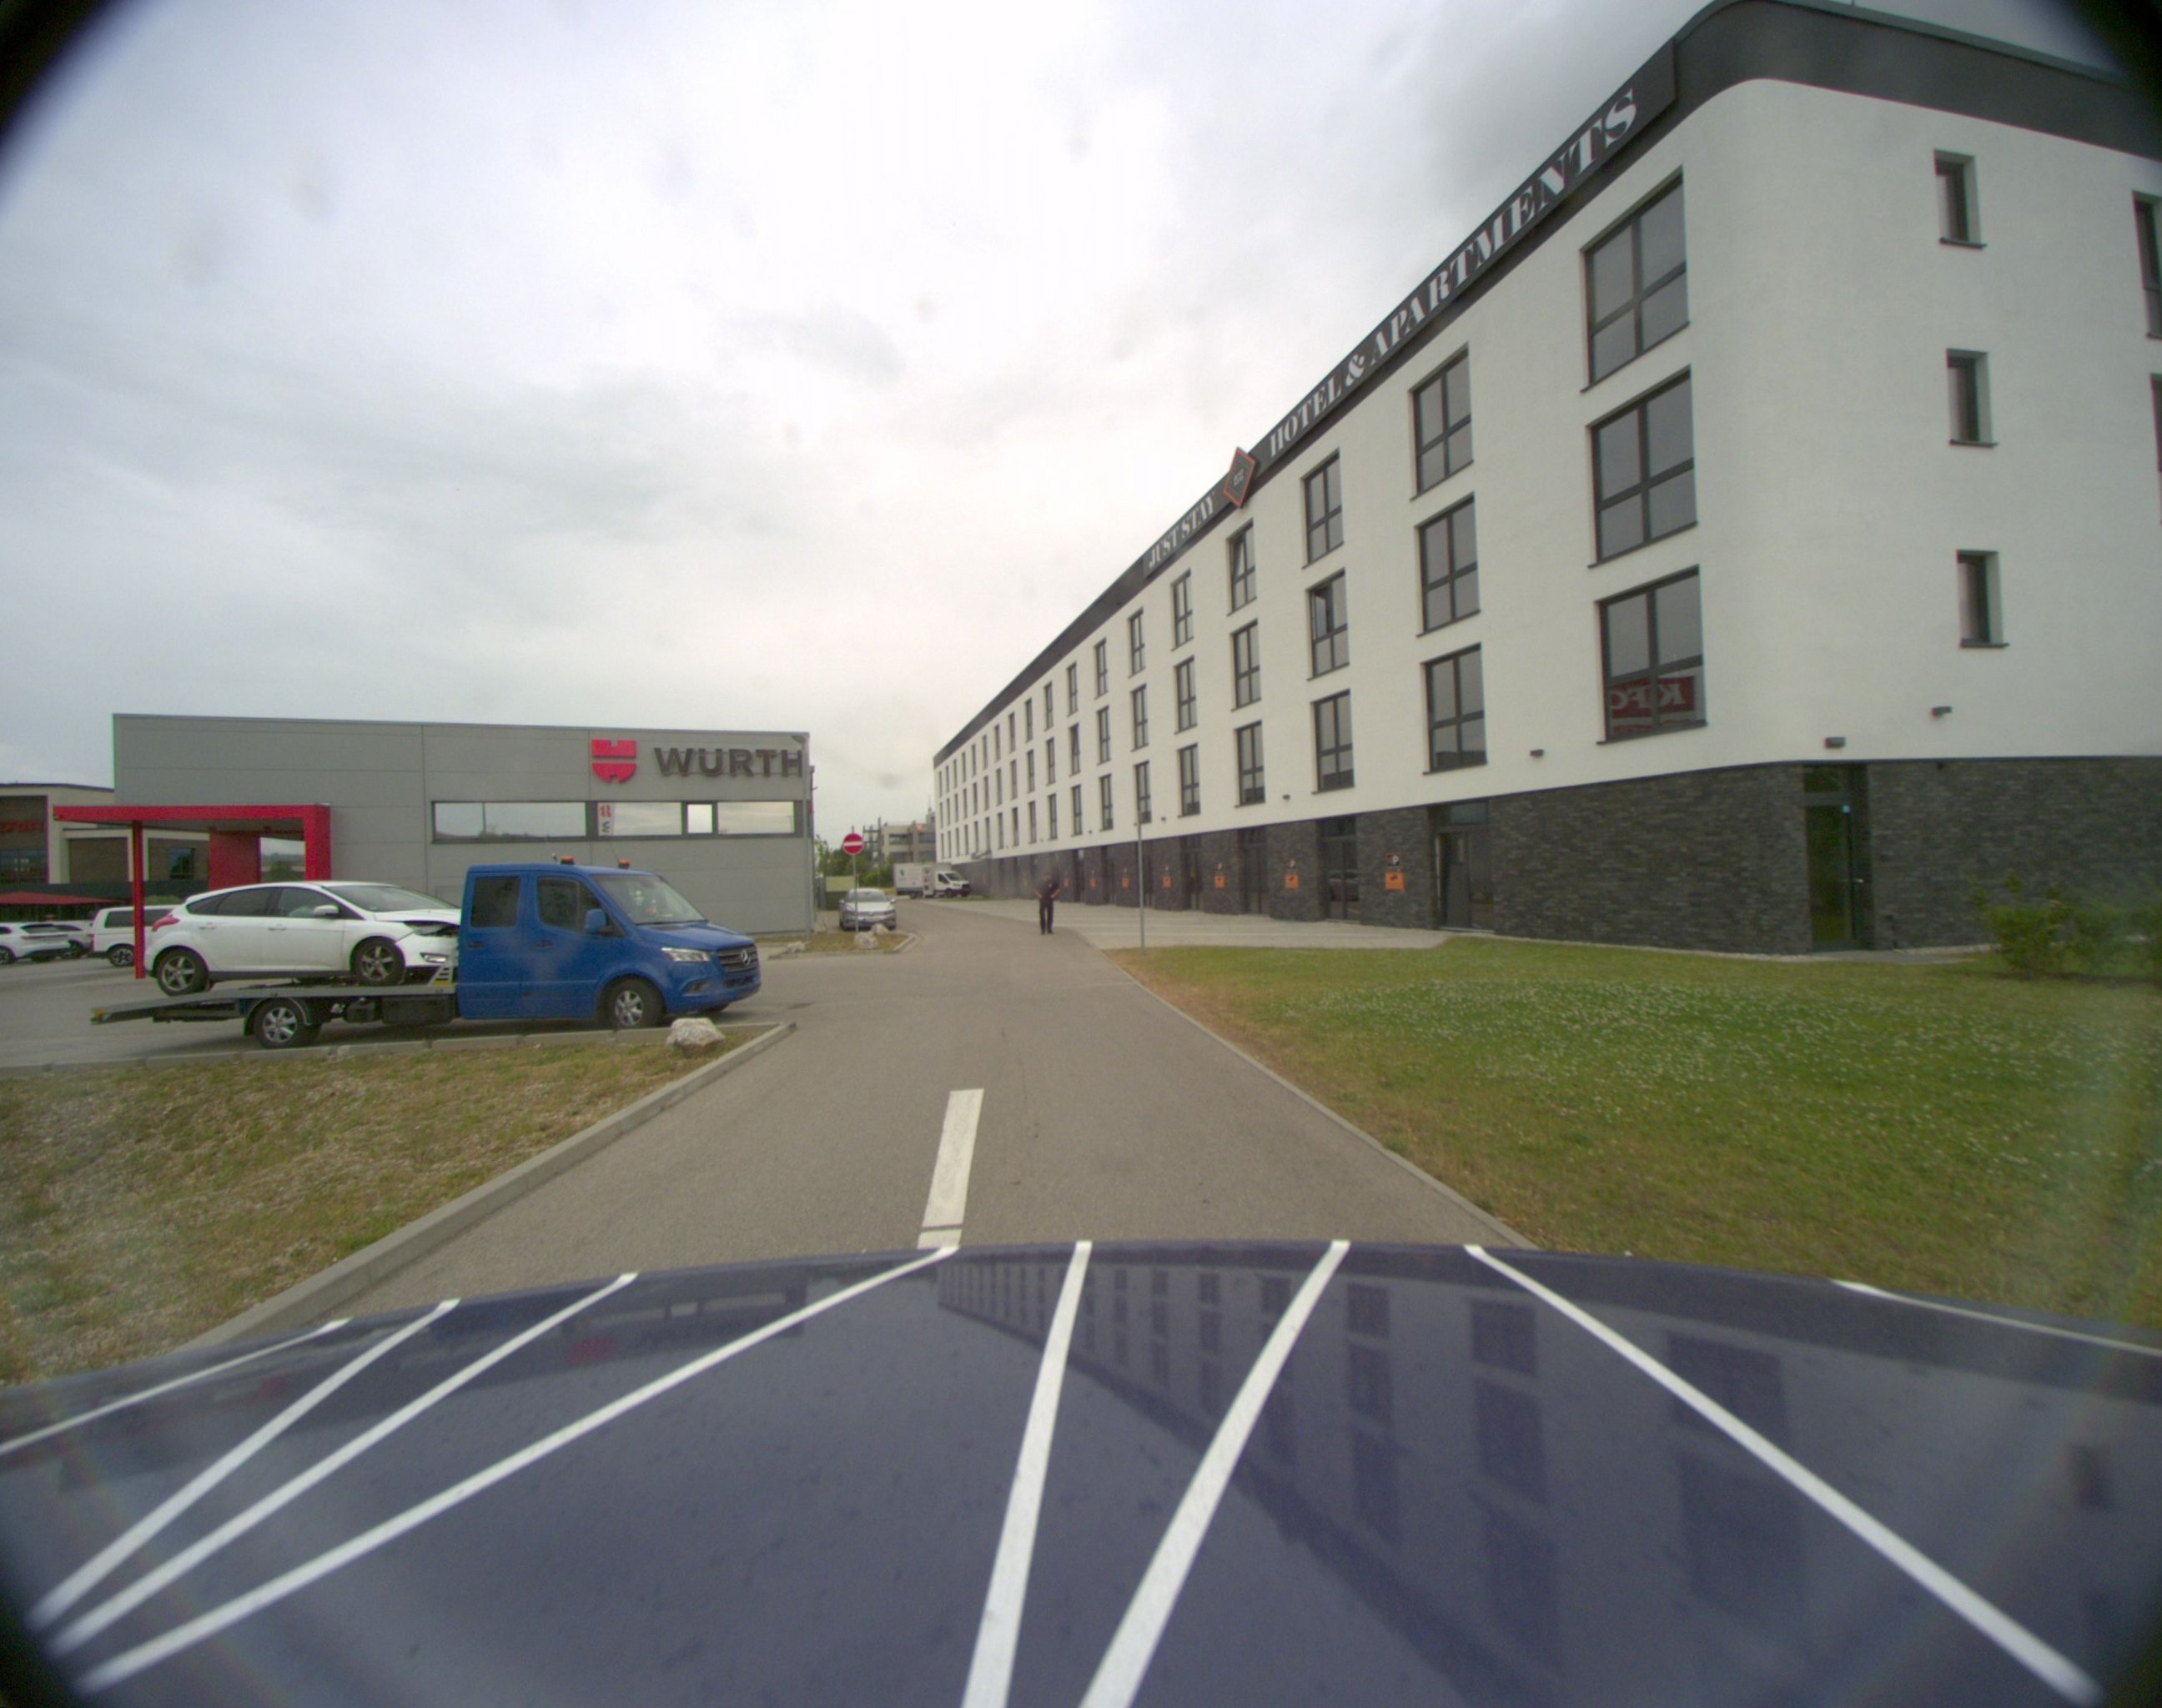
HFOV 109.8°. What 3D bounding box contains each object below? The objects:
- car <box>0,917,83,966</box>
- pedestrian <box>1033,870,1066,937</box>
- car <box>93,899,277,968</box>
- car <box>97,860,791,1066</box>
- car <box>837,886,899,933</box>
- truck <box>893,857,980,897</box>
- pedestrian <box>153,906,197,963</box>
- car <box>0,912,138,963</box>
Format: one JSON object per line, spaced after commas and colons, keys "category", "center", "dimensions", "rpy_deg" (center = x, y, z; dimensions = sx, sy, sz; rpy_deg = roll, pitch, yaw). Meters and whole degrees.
{"category": "car", "center": [-43.692, 3.570, 30.152], "dimensions": [4.745, 1.738, 1.756], "rpy_deg": [-3, -1, -17]}
{"category": "pedestrian", "center": [-0.907, 1.388, 21.561], "dimensions": [0.710, 1.811, 0.812], "rpy_deg": [-2, 0, -14]}
{"category": "car", "center": [-30.487, 2.669, 25.994], "dimensions": [3.678, 1.967, 1.674], "rpy_deg": [-3, 0, -19]}
{"category": "car", "center": [-8.354, 1.381, 10.469], "dimensions": [7.849, 2.309, 2.202], "rpy_deg": [-2, -1, 3]}
{"category": "car", "center": [-7.807, 1.990, 28.233], "dimensions": [1.982, 1.482, 4.766], "rpy_deg": [0, -1, -13]}
{"category": "truck", "center": [-11.845, 1.922, 62.108], "dimensions": [7.051, 2.998, 2.441], "rpy_deg": [-3, 0, 31]}
{"category": "pedestrian", "center": [-29.658, 2.623, 24.890], "dimensions": [0.659, 1.797, 0.648], "rpy_deg": [-2, -1, -17]}
{"category": "car", "center": [-44.329, 3.588, 32.844], "dimensions": [4.003, 1.848, 1.997], "rpy_deg": [-2, -1, -17]}
